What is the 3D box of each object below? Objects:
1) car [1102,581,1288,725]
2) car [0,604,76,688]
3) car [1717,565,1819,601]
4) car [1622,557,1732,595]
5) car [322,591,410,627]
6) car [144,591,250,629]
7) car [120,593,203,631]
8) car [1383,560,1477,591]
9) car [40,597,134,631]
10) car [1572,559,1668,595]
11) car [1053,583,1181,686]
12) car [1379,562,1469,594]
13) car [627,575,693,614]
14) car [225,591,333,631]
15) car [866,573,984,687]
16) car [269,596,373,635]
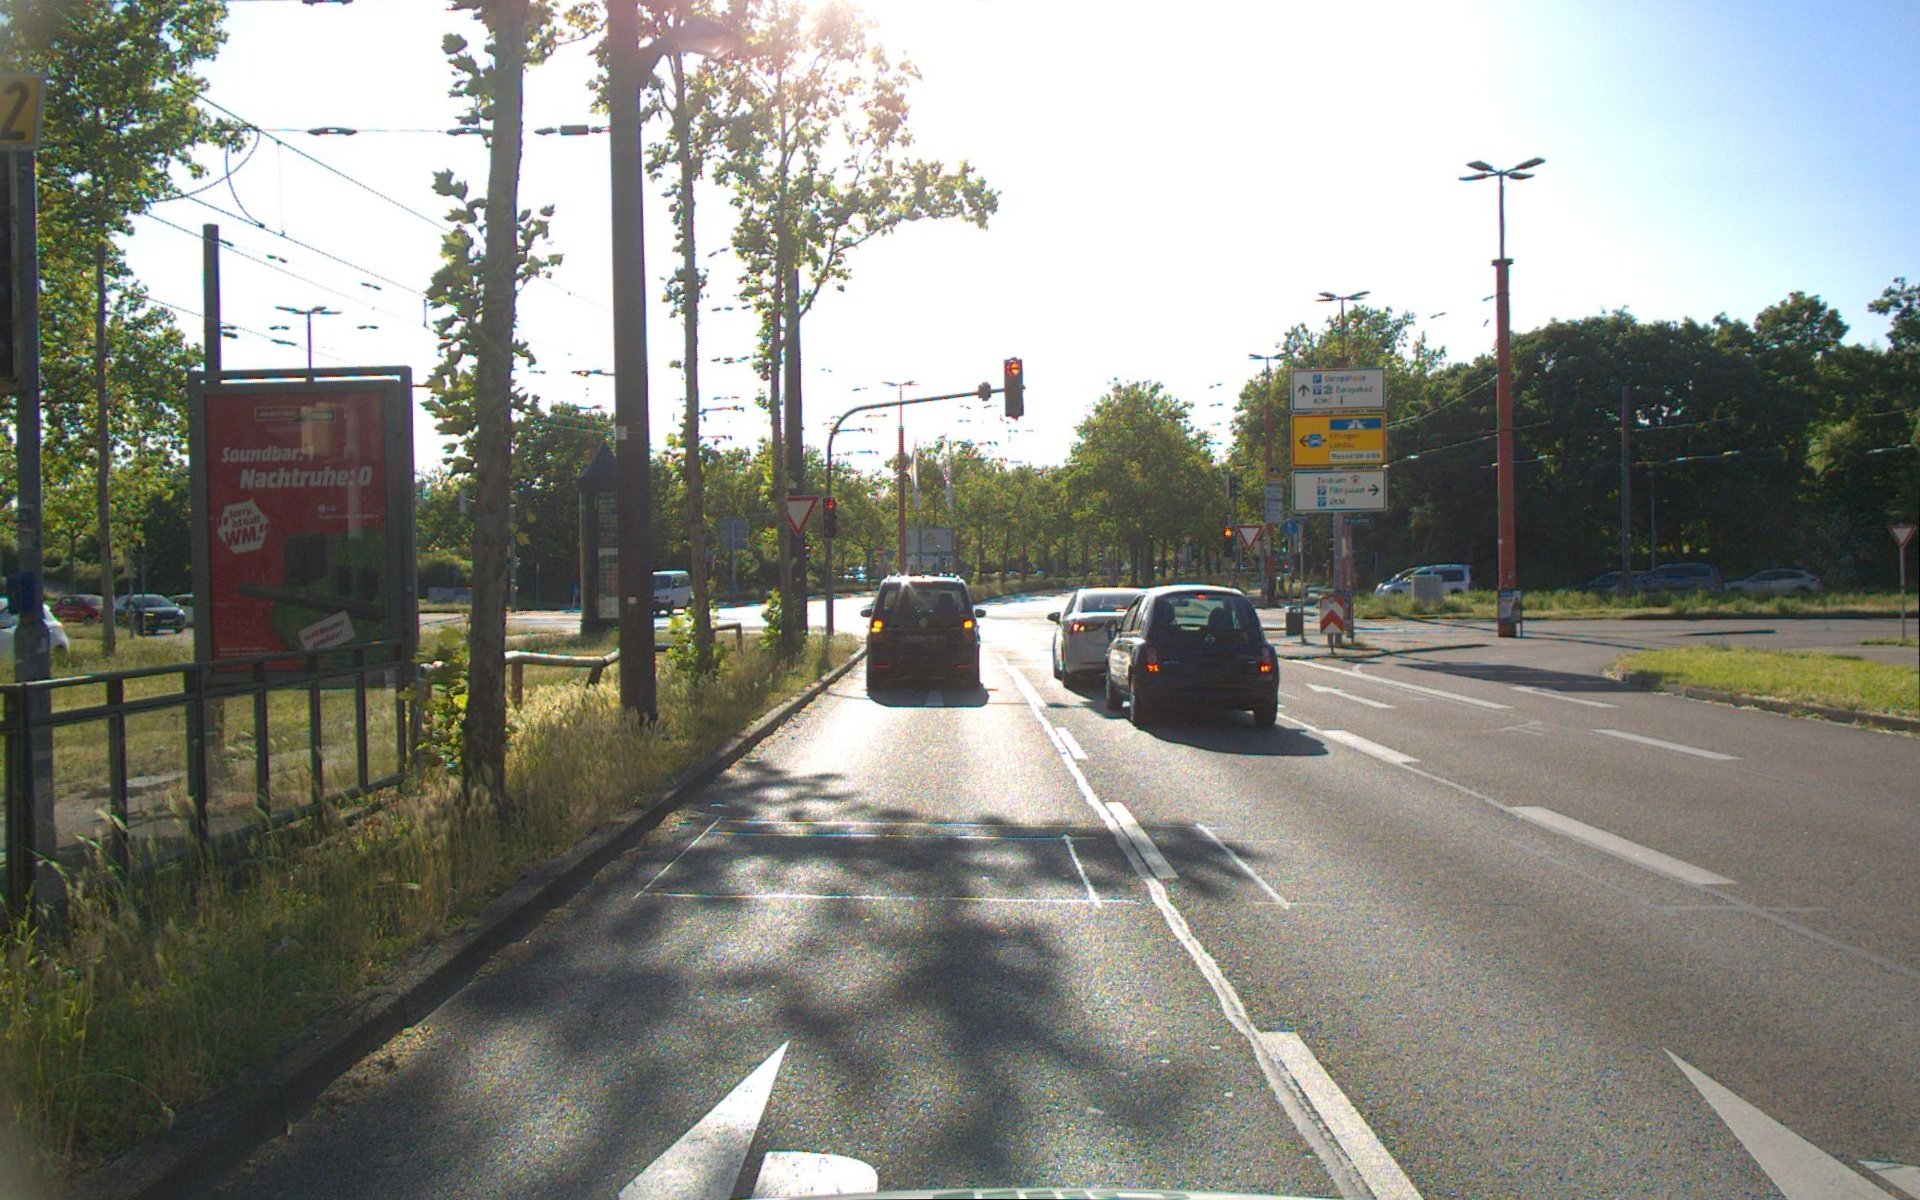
[{"bbox_3d":[2.672,0.549,19.512,1.606,1.520,3.502,0,1,-2],"label":"car"},{"bbox_3d":[-17.904,0.819,30.178,1.598,1.475,3.718,0,0,-1],"label":"car"},{"bbox_3d":[35.039,-0.743,71.798,3.908,1.521,1.859,0,0,26],"label":"car"},{"bbox_3d":[30.584,-0.996,70.638,4.264,1.586,1.871,0,0,24],"label":"car"},{"bbox_3d":[-30.951,0.476,86.233,3.903,1.649,1.902,-1,3,18],"label":"car"},{"bbox_3d":[-36.341,0.471,78.786,4.391,1.638,1.901,-1,2,18],"label":"car"},{"bbox_3d":[-34.185,0.482,70.761,1.886,1.570,4.426,0,0,-45],"label":"car"},{"bbox_3d":[21.399,-1.098,75.269,3.908,1.361,1.728,0,0,25],"label":"car"},{"bbox_3d":[-43.306,0.696,82.075,3.950,1.461,1.817,-1,3,18],"label":"car"},{"bbox_3d":[29.728,-1.009,74.458,3.908,1.588,1.898,0,0,26],"label":"car"},{"bbox_3d":[2.392,0.494,26.059,1.644,1.500,4.131,0,0,0],"label":"car"},{"bbox_3d":[22.021,-1.021,78.510,3.907,1.502,1.788,0,0,25],"label":"car"},{"bbox_3d":[-14.397,-0.284,79.657,1.784,1.811,4.571,0,0,8],"label":"car"},{"bbox_3d":[-31.505,0.494,76.511,4.391,1.638,1.902,-1,3,18],"label":"car"},{"bbox_3d":[-0.548,0.429,25.515,1.676,1.631,3.349,1,0,-2],"label":"car"},{"bbox_3d":[-30.777,0.754,79.721,4.391,1.638,1.902,-1,3,18],"label":"car"}]
